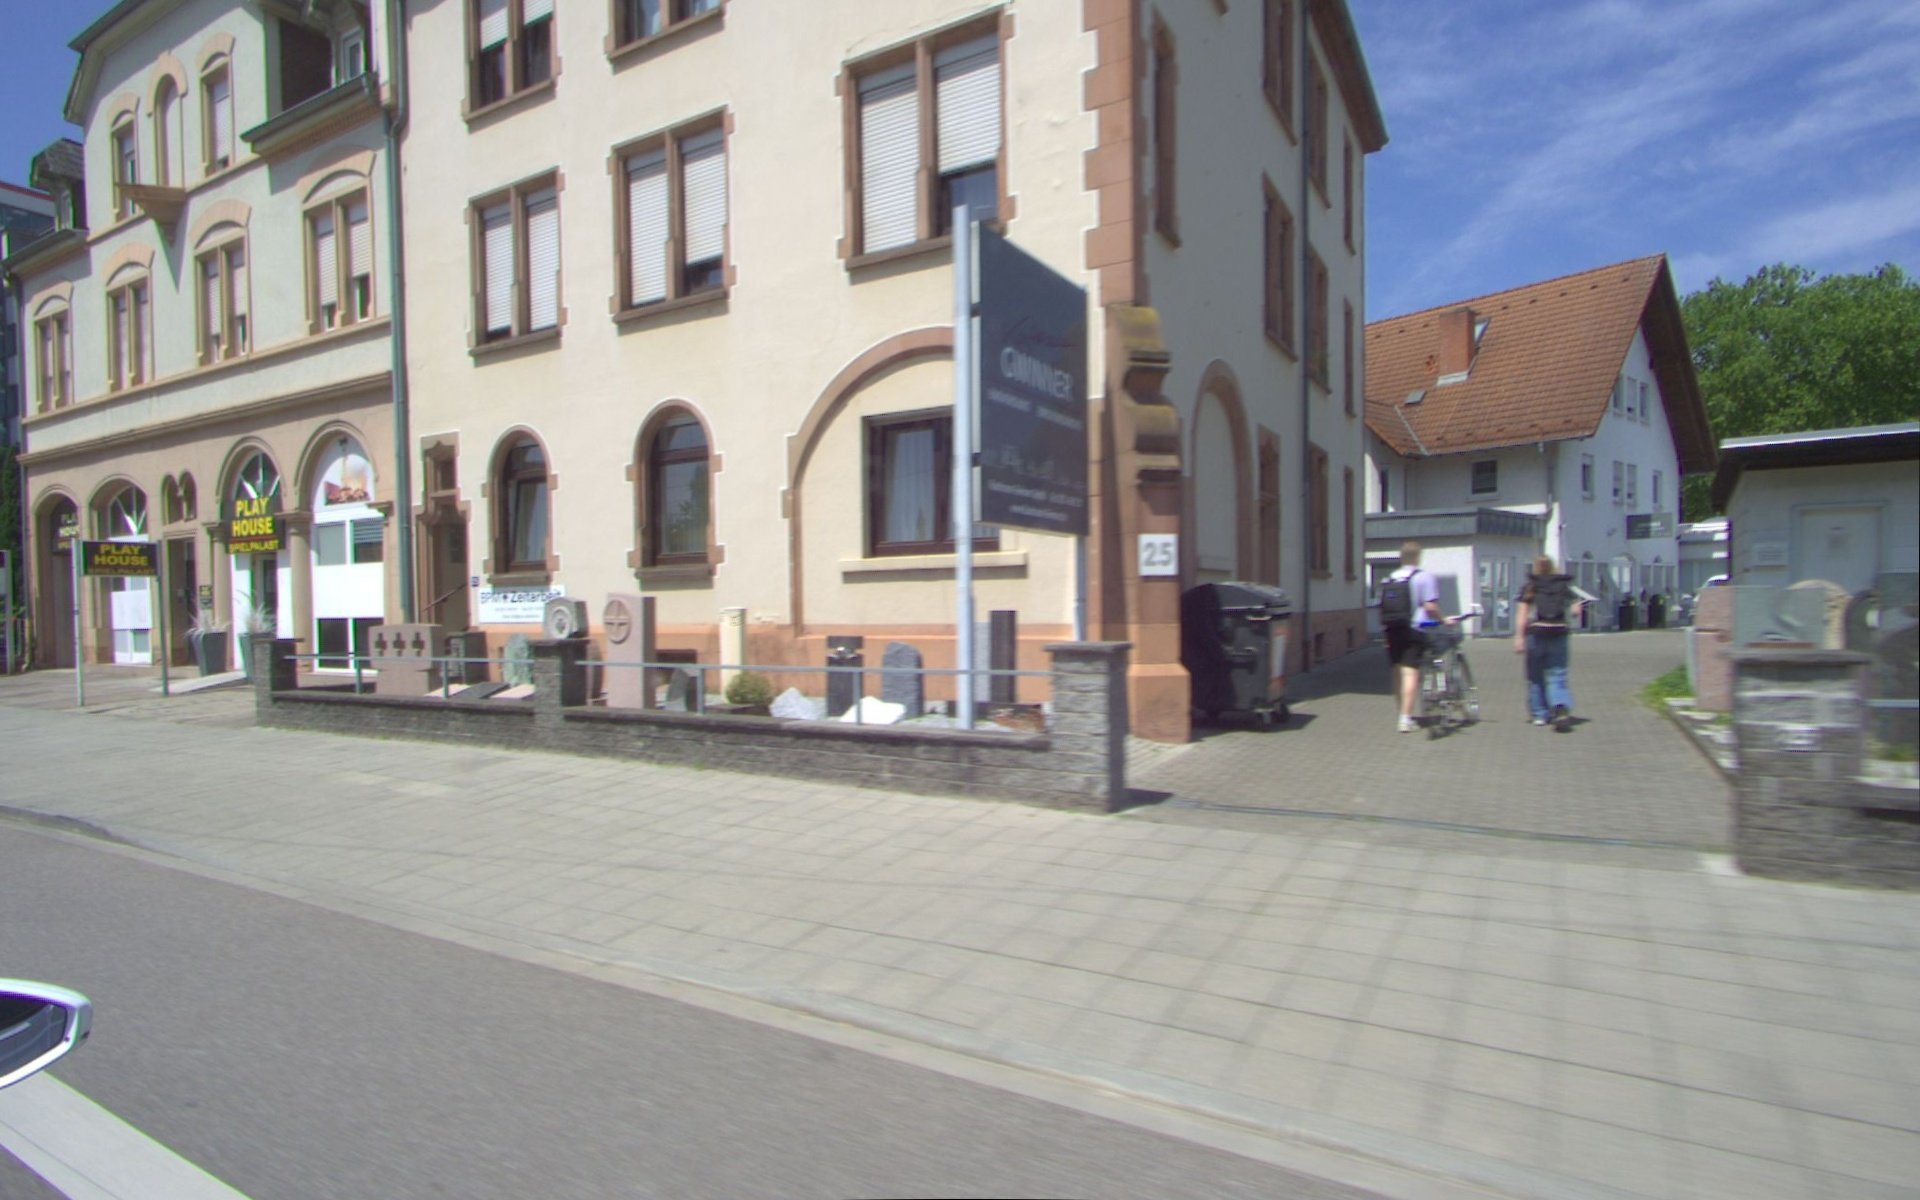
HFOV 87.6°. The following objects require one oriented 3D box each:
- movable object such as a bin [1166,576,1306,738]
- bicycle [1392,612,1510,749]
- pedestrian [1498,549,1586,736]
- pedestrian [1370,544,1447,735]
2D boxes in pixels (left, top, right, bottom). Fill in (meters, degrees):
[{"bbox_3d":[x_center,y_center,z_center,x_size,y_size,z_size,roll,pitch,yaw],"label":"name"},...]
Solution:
[{"bbox_3d":[2.862,0.532,10.300,1.031,1.519,1.326,-1,2,32],"label":"movable object such as a bin"},{"bbox_3d":[4.743,0.714,9.611,0.583,1.142,1.792,0,1,41],"label":"bicycle"},{"bbox_3d":[5.631,0.396,9.679,0.582,1.713,0.820,0,0,42],"label":"pedestrian"},{"bbox_3d":[4.409,0.376,9.843,0.498,1.796,0.684,0,1,42],"label":"pedestrian"}]
